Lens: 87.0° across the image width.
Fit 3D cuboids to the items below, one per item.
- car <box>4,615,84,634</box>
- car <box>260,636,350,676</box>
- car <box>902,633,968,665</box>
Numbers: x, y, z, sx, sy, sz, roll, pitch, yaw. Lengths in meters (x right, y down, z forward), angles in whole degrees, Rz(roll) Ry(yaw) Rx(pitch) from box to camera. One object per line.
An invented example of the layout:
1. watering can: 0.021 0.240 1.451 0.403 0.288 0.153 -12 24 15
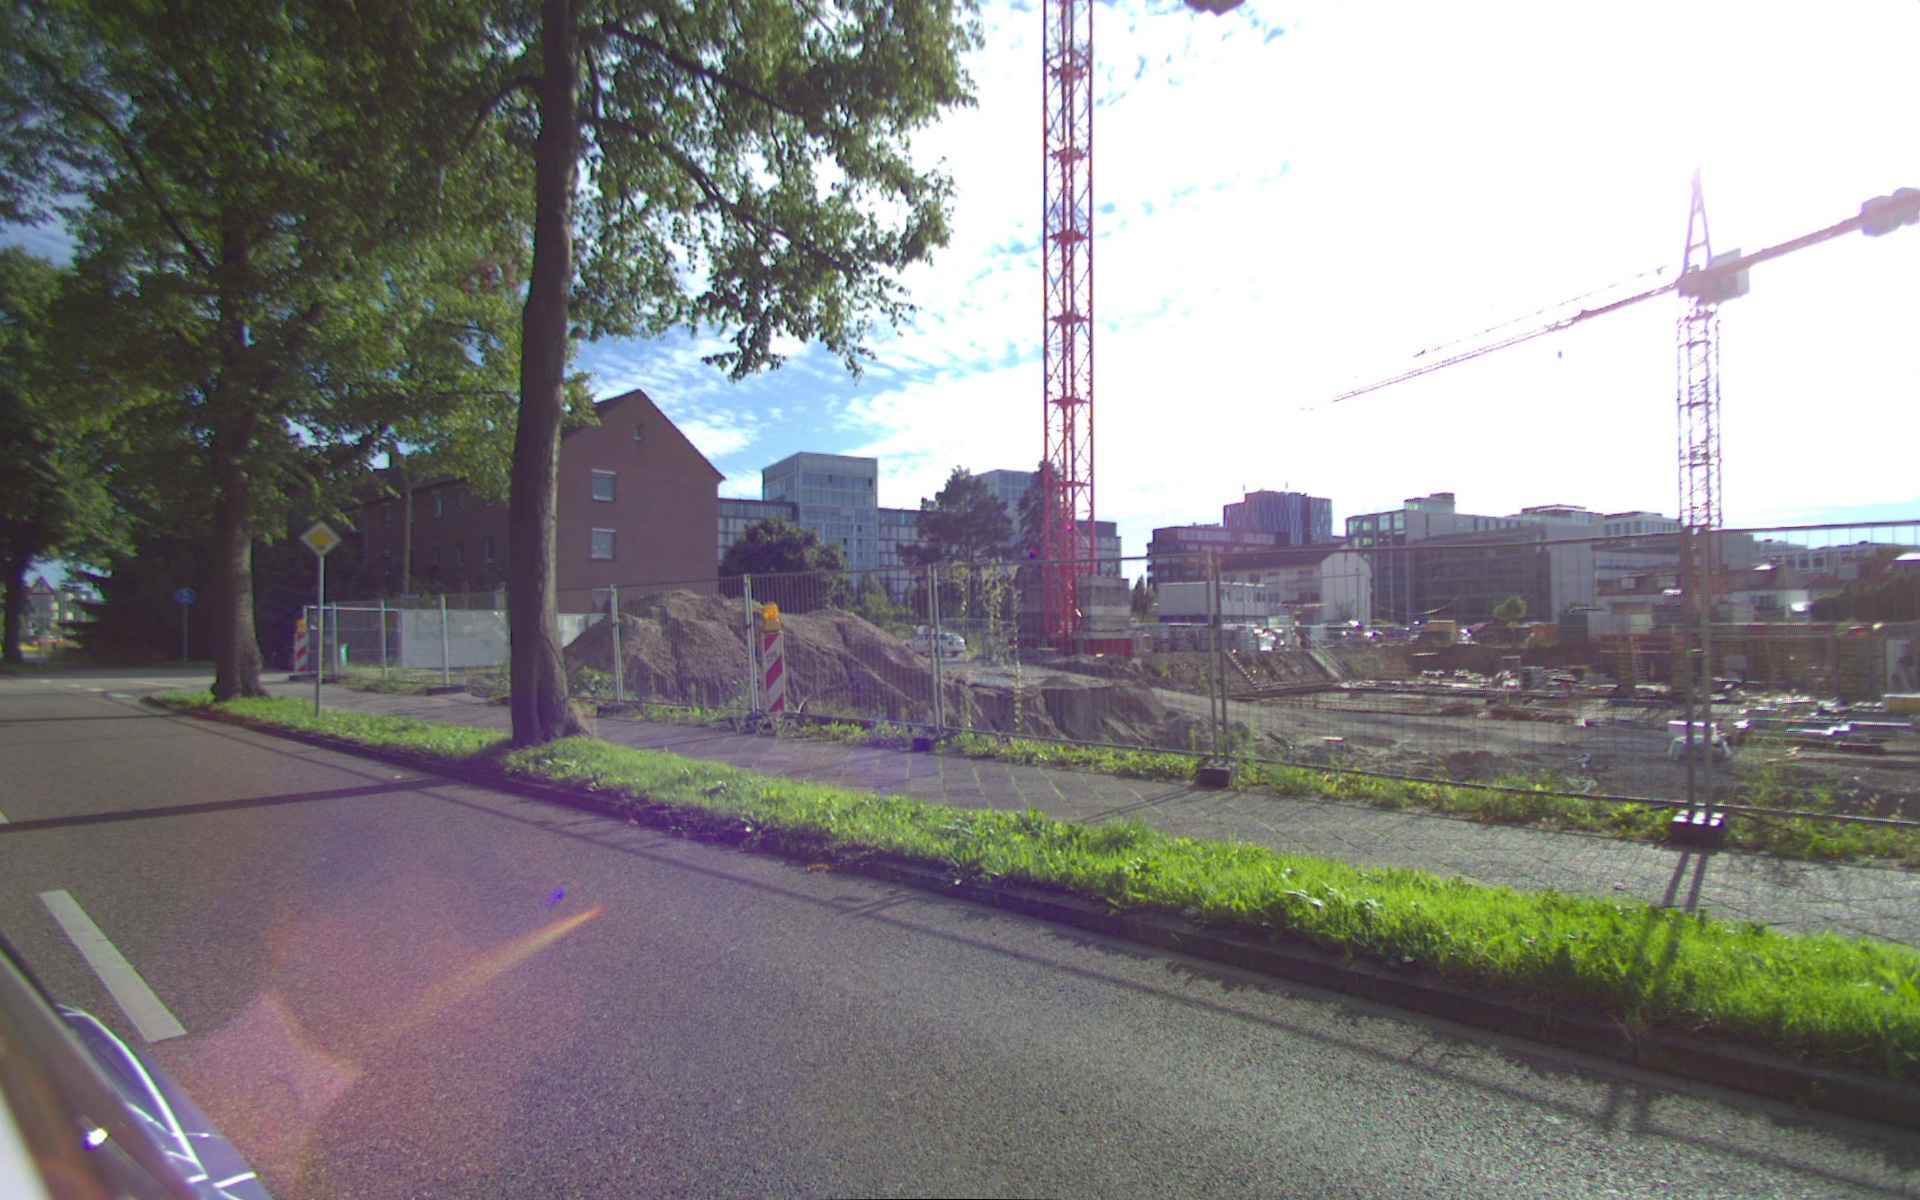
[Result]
1. car: -96.790 2.619 106.977 6.162 1.881 2.478 -1 -1 -2
2. car: -25.862 2.166 39.916 4.509 1.439 1.971 -1 -2 44
3. car: -1.591 3.058 64.021 3.978 1.821 1.796 0 0 37
